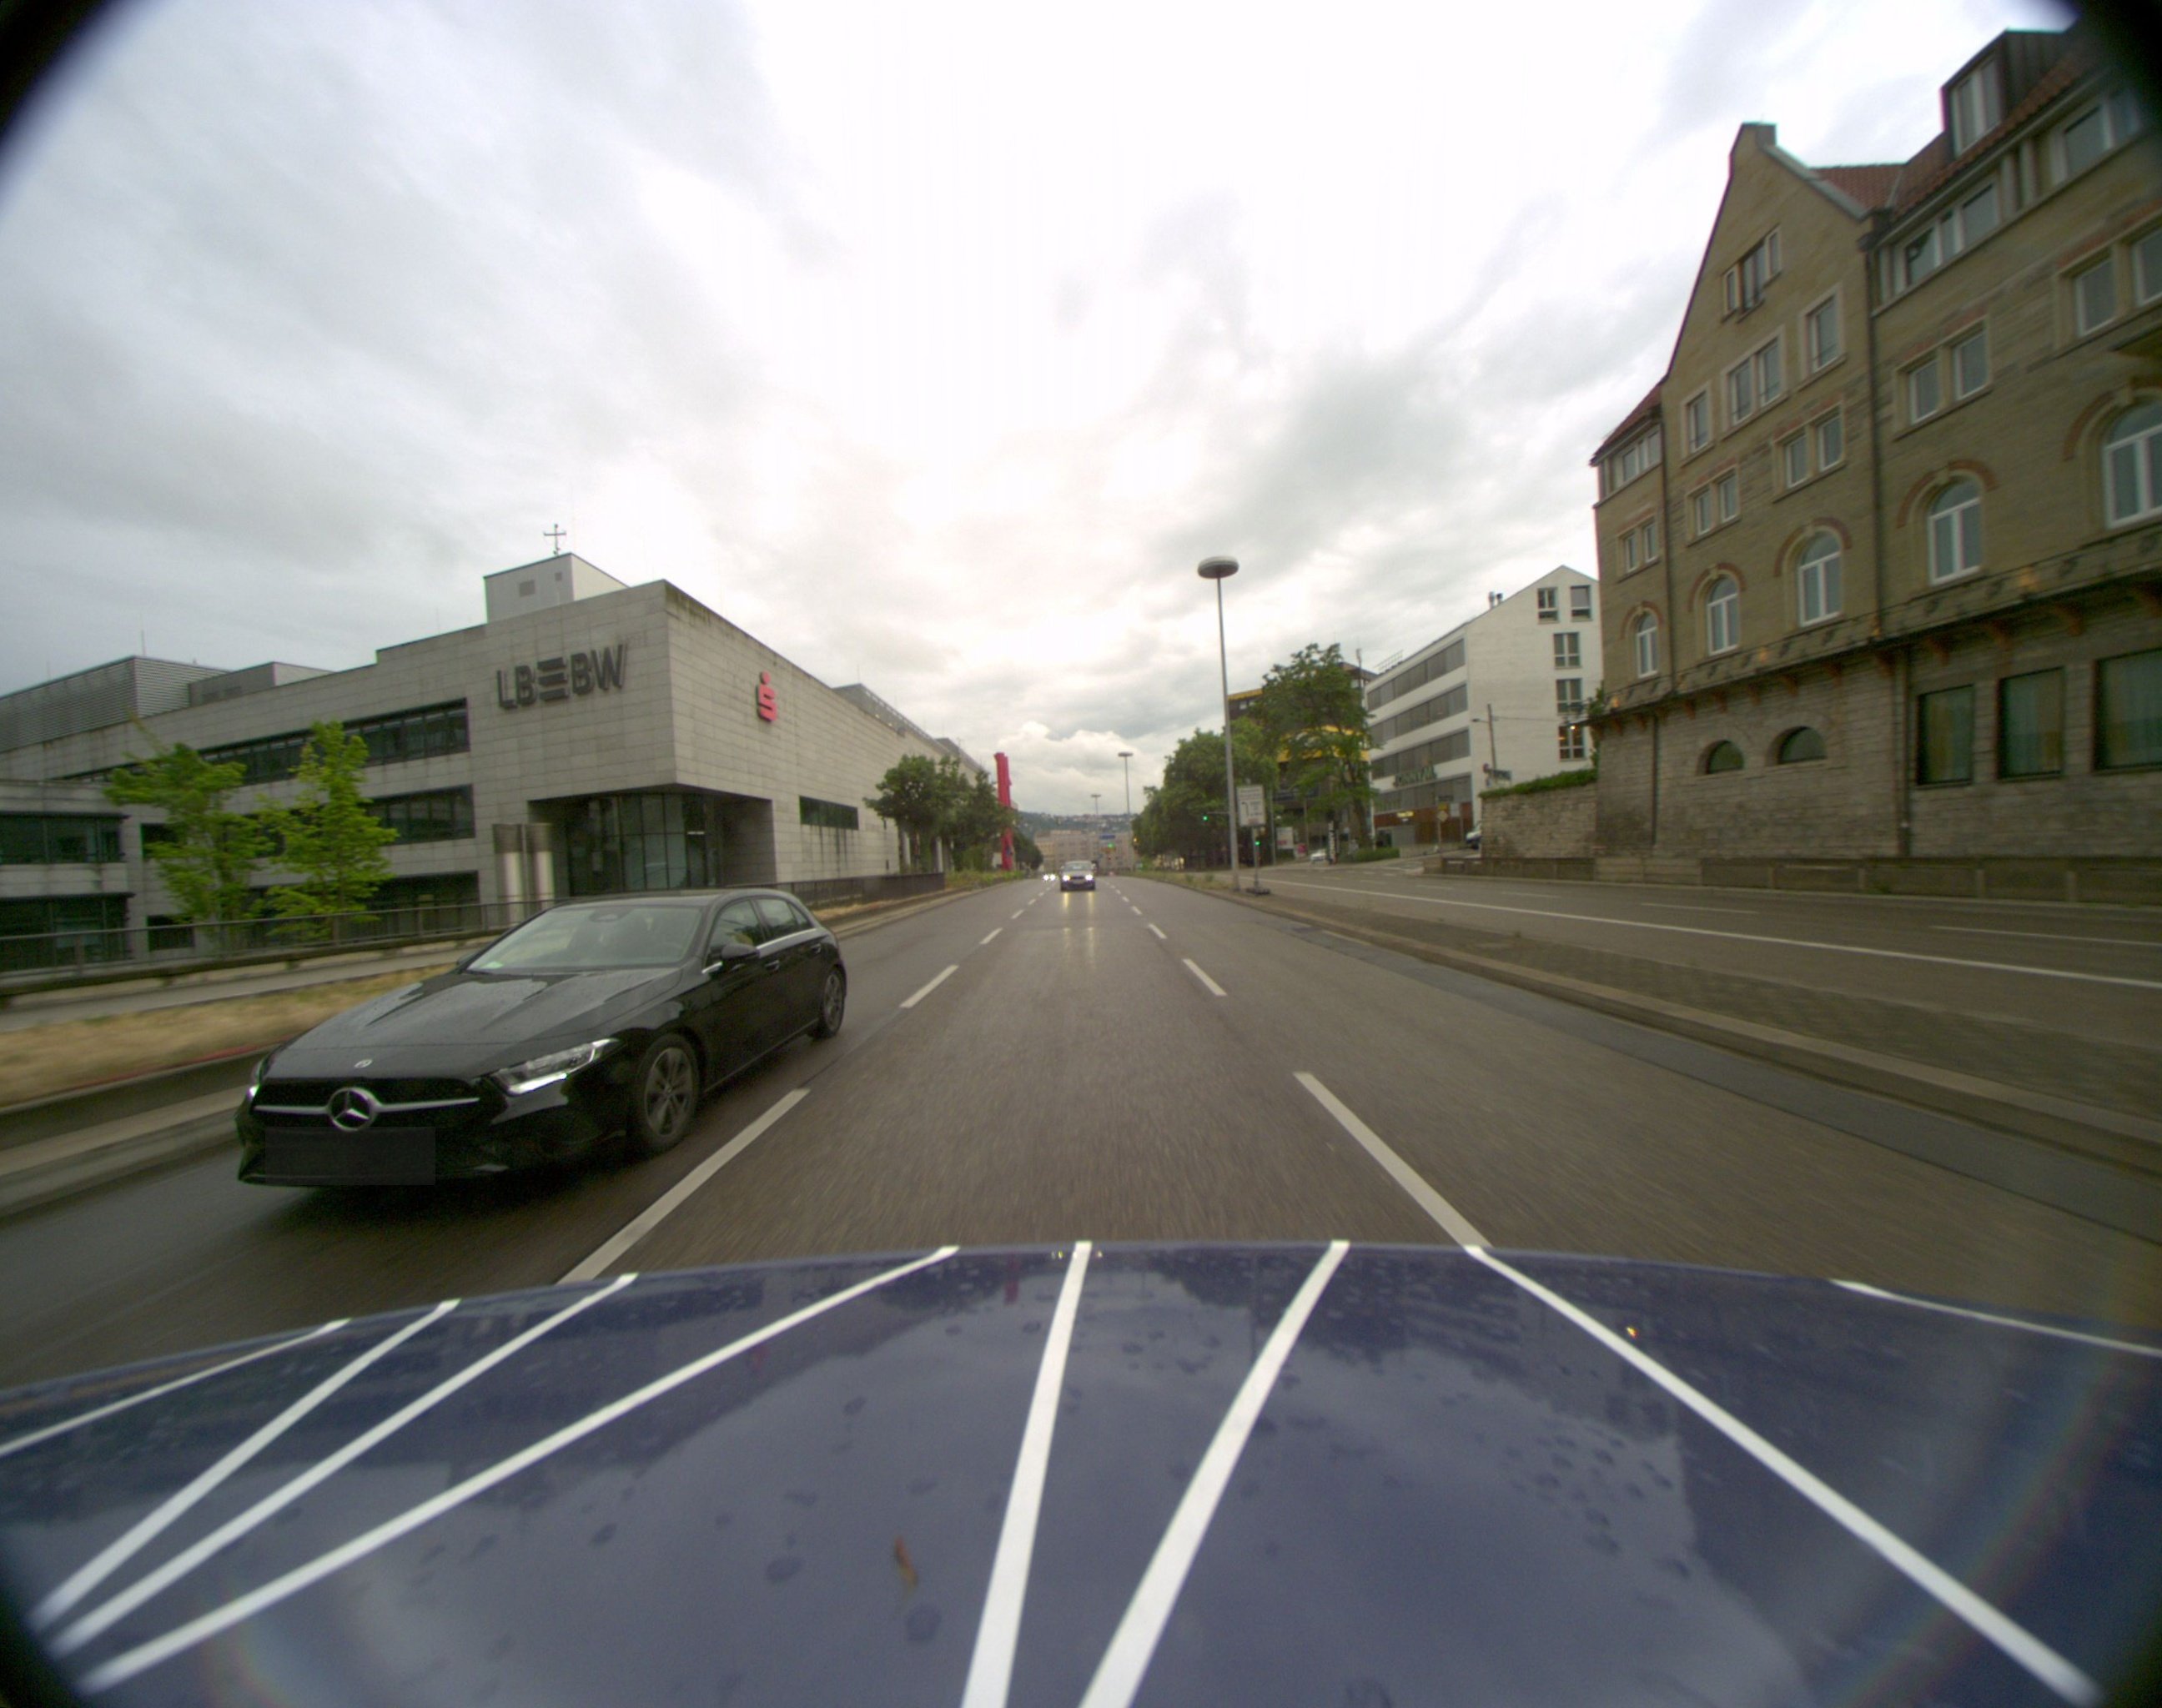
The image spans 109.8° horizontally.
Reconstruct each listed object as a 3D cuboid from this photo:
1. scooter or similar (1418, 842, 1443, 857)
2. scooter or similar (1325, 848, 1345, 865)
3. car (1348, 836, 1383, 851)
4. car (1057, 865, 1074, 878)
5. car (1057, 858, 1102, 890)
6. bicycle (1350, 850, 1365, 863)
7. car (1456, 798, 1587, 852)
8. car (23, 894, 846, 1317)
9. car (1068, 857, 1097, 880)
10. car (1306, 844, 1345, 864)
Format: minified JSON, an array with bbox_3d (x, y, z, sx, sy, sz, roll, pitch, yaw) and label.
[{"bbox_3d":[24.805,-0.309,53.969,1.473,0.916,0.444,-7,-1,-2],"label":"scooter or similar"},{"bbox_3d":[20.863,0.167,62.422,1.758,1.240,0.369,-5,1,-29],"label":"scooter or similar"},{"bbox_3d":[38.250,-1.400,102.210,3.989,1.674,1.824,-3,-1,43],"label":"car"},{"bbox_3d":[-1.872,2.096,90.287,1.863,1.428,4.204,-2,0,-1],"label":"car"},{"bbox_3d":[-0.026,0.964,38.120,1.862,1.428,4.207,0,0,5],"label":"car"},{"bbox_3d":[21.201,0.220,58.229,0.458,0.985,1.758,-3,-1,0],"label":"bicycle"},{"bbox_3d":[29.088,-1.877,50.403,6.919,2.261,2.516,-9,-4,1],"label":"car"},{"bbox_3d":[-3.177,1.093,5.076,1.877,1.428,4.206,-2,-1,0],"label":"car"},{"bbox_3d":[0.145,0.982,53.605,1.863,1.449,4.206,-2,0,2],"label":"car"},{"bbox_3d":[25.002,0.020,77.579,1.995,1.644,4.852,-5,0,39],"label":"car"}]
